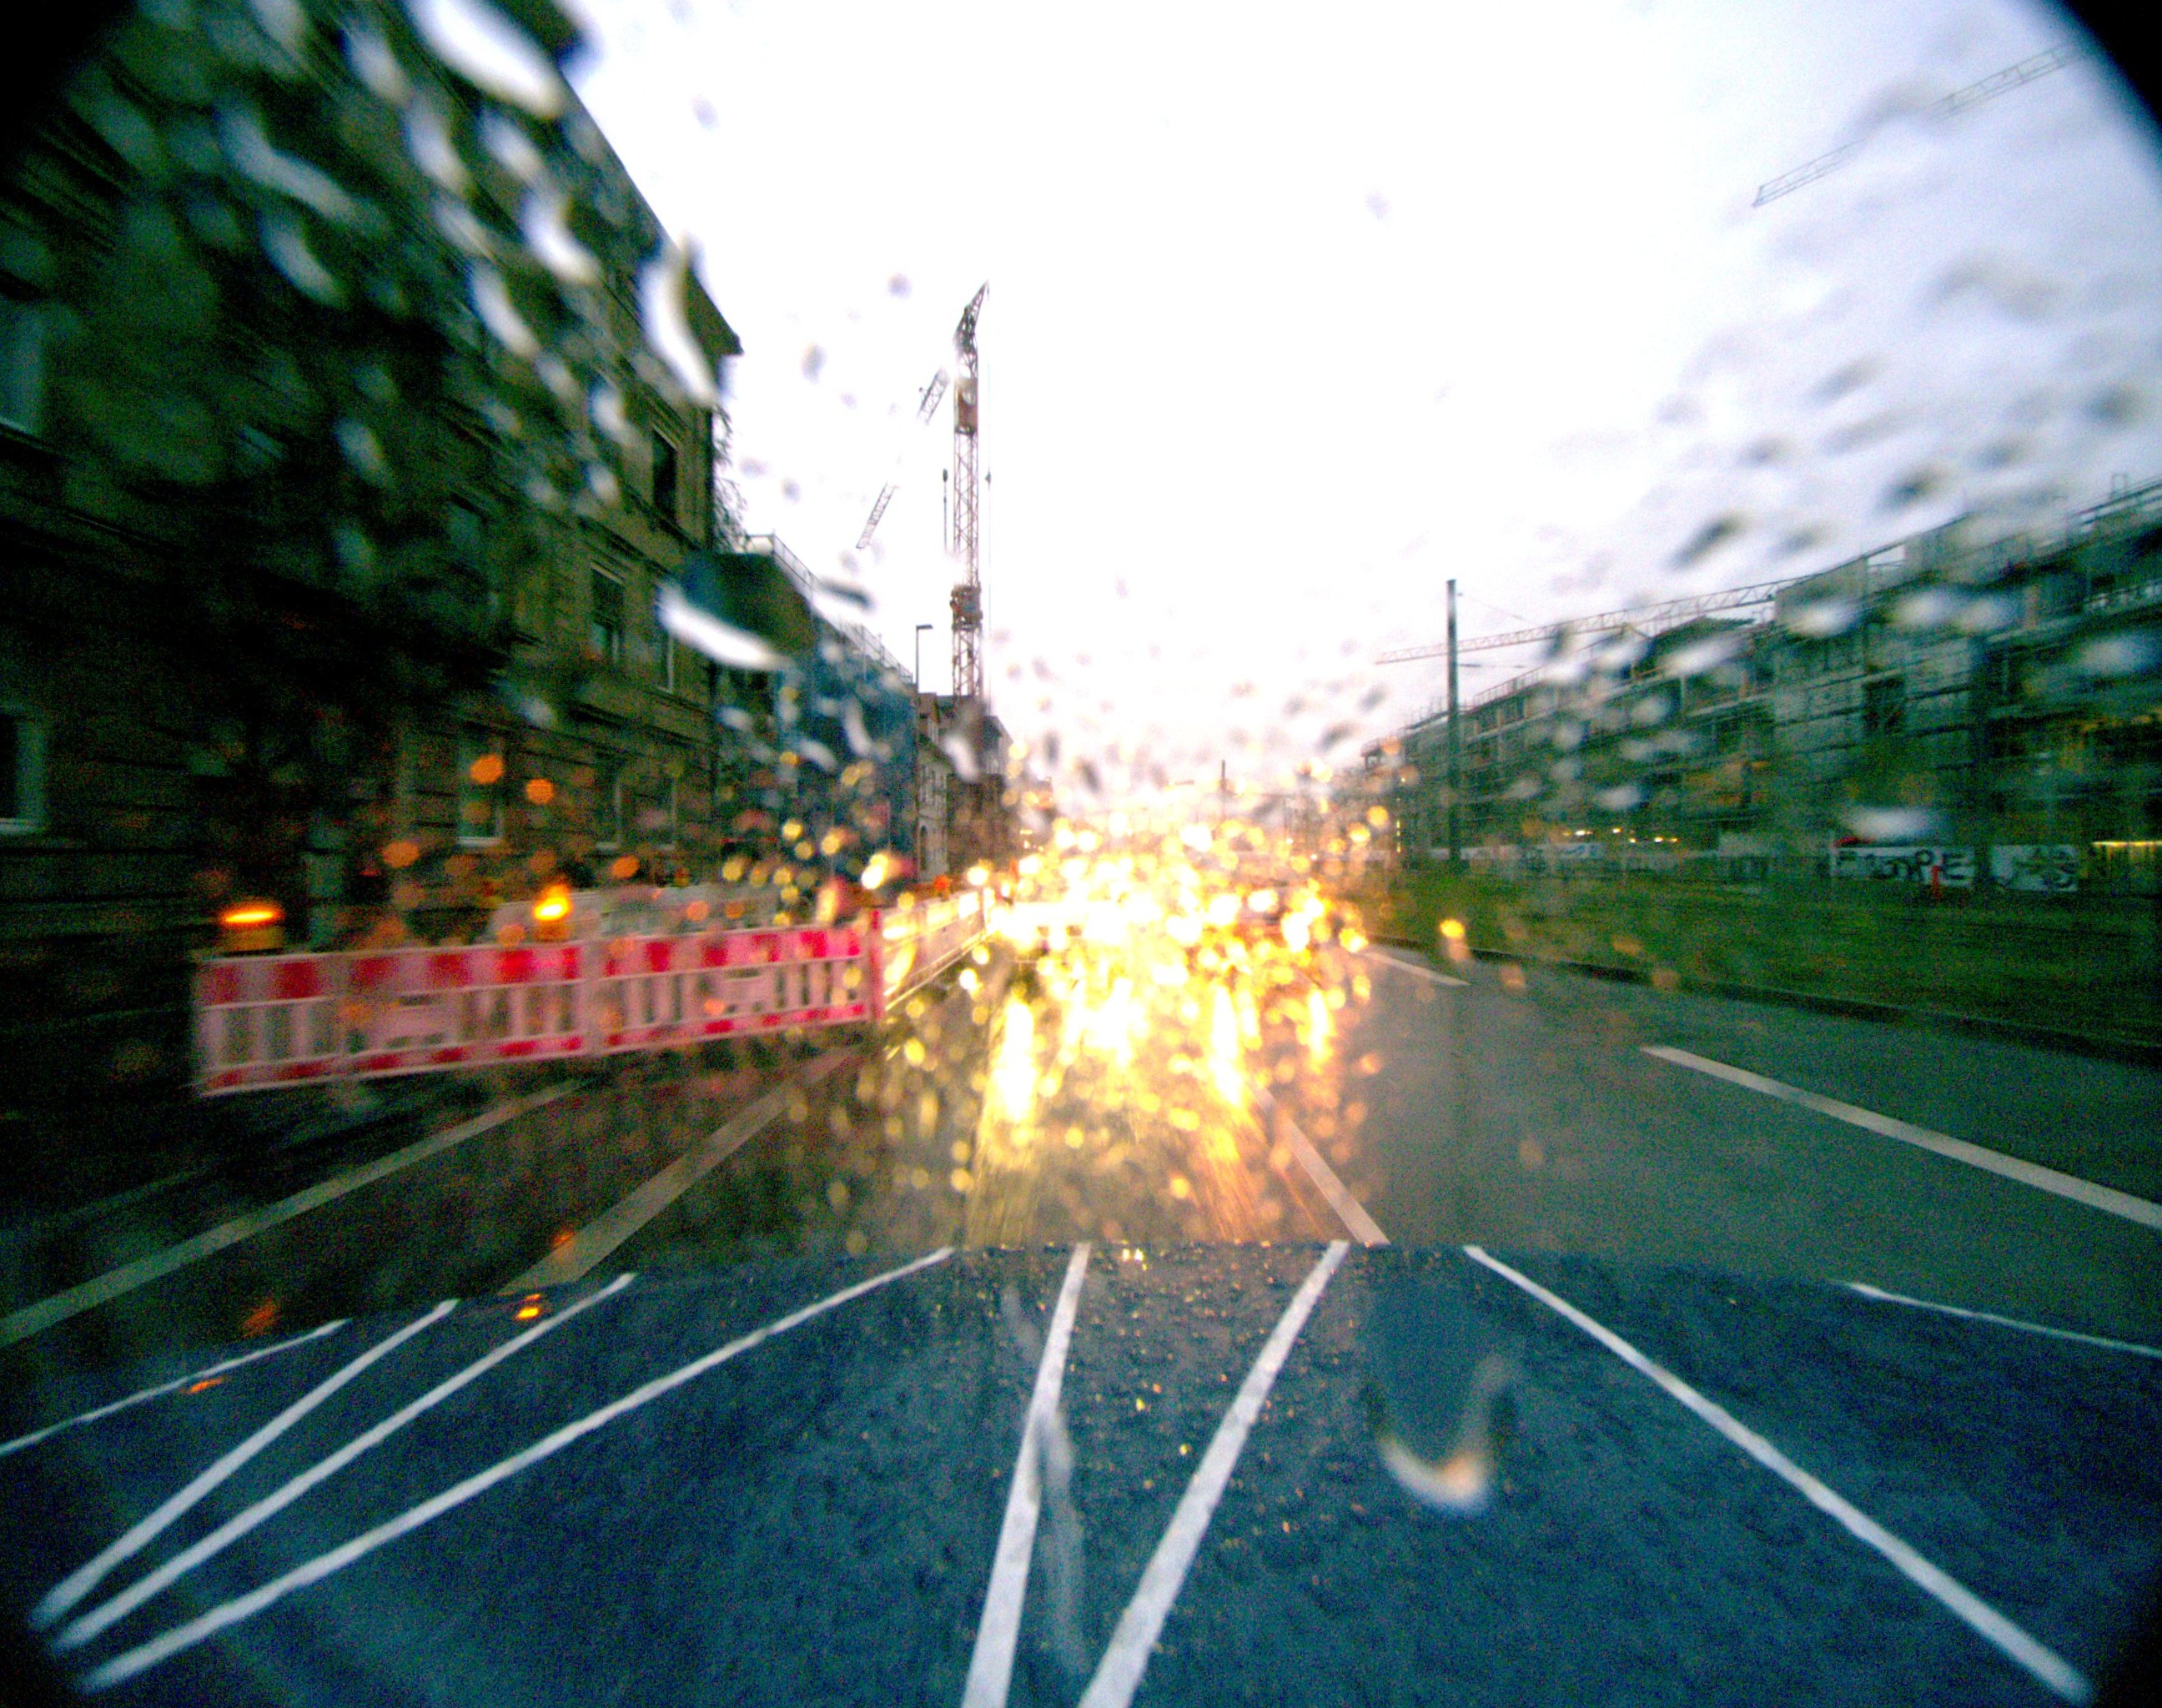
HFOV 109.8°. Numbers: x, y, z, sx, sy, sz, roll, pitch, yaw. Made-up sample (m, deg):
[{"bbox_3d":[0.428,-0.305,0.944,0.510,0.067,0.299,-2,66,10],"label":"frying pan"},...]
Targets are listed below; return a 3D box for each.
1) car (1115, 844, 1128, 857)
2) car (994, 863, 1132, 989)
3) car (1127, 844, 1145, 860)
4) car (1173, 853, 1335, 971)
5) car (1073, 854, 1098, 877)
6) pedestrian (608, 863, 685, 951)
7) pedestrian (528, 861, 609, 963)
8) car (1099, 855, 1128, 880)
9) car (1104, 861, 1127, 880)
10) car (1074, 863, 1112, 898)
[{"bbox_3d":[5.447,-0.462,101.931,1.768,1.614,3.900,-2,1,4],"label":"car"},{"bbox_3d":[-0.253,0.983,12.026,1.769,1.504,3.899,-2,1,0],"label":"car"},{"bbox_3d":[5.920,-0.223,82.237,1.768,1.614,3.900,-2,1,4],"label":"car"},{"bbox_3d":[2.685,0.828,12.779,1.815,1.636,4.135,-1,0,1],"label":"car"},{"bbox_3d":[0.298,0.847,56.984,1.769,1.504,3.899,-2,1,0],"label":"car"},{"bbox_3d":[-7.960,0.947,13.948,0.870,1.536,0.929,0,0,1],"label":"pedestrian"},{"bbox_3d":[-8.579,0.946,12.735,0.870,1.663,0.707,0,0,1],"label":"pedestrian"},{"bbox_3d":[2.178,0.893,51.918,1.769,1.504,3.899,-2,1,0],"label":"car"},{"bbox_3d":[3.112,1.474,69.171,1.769,1.504,3.899,-2,1,0],"label":"car"},{"bbox_3d":[0.549,1.300,38.660,1.769,1.504,3.899,-2,1,0],"label":"car"}]
